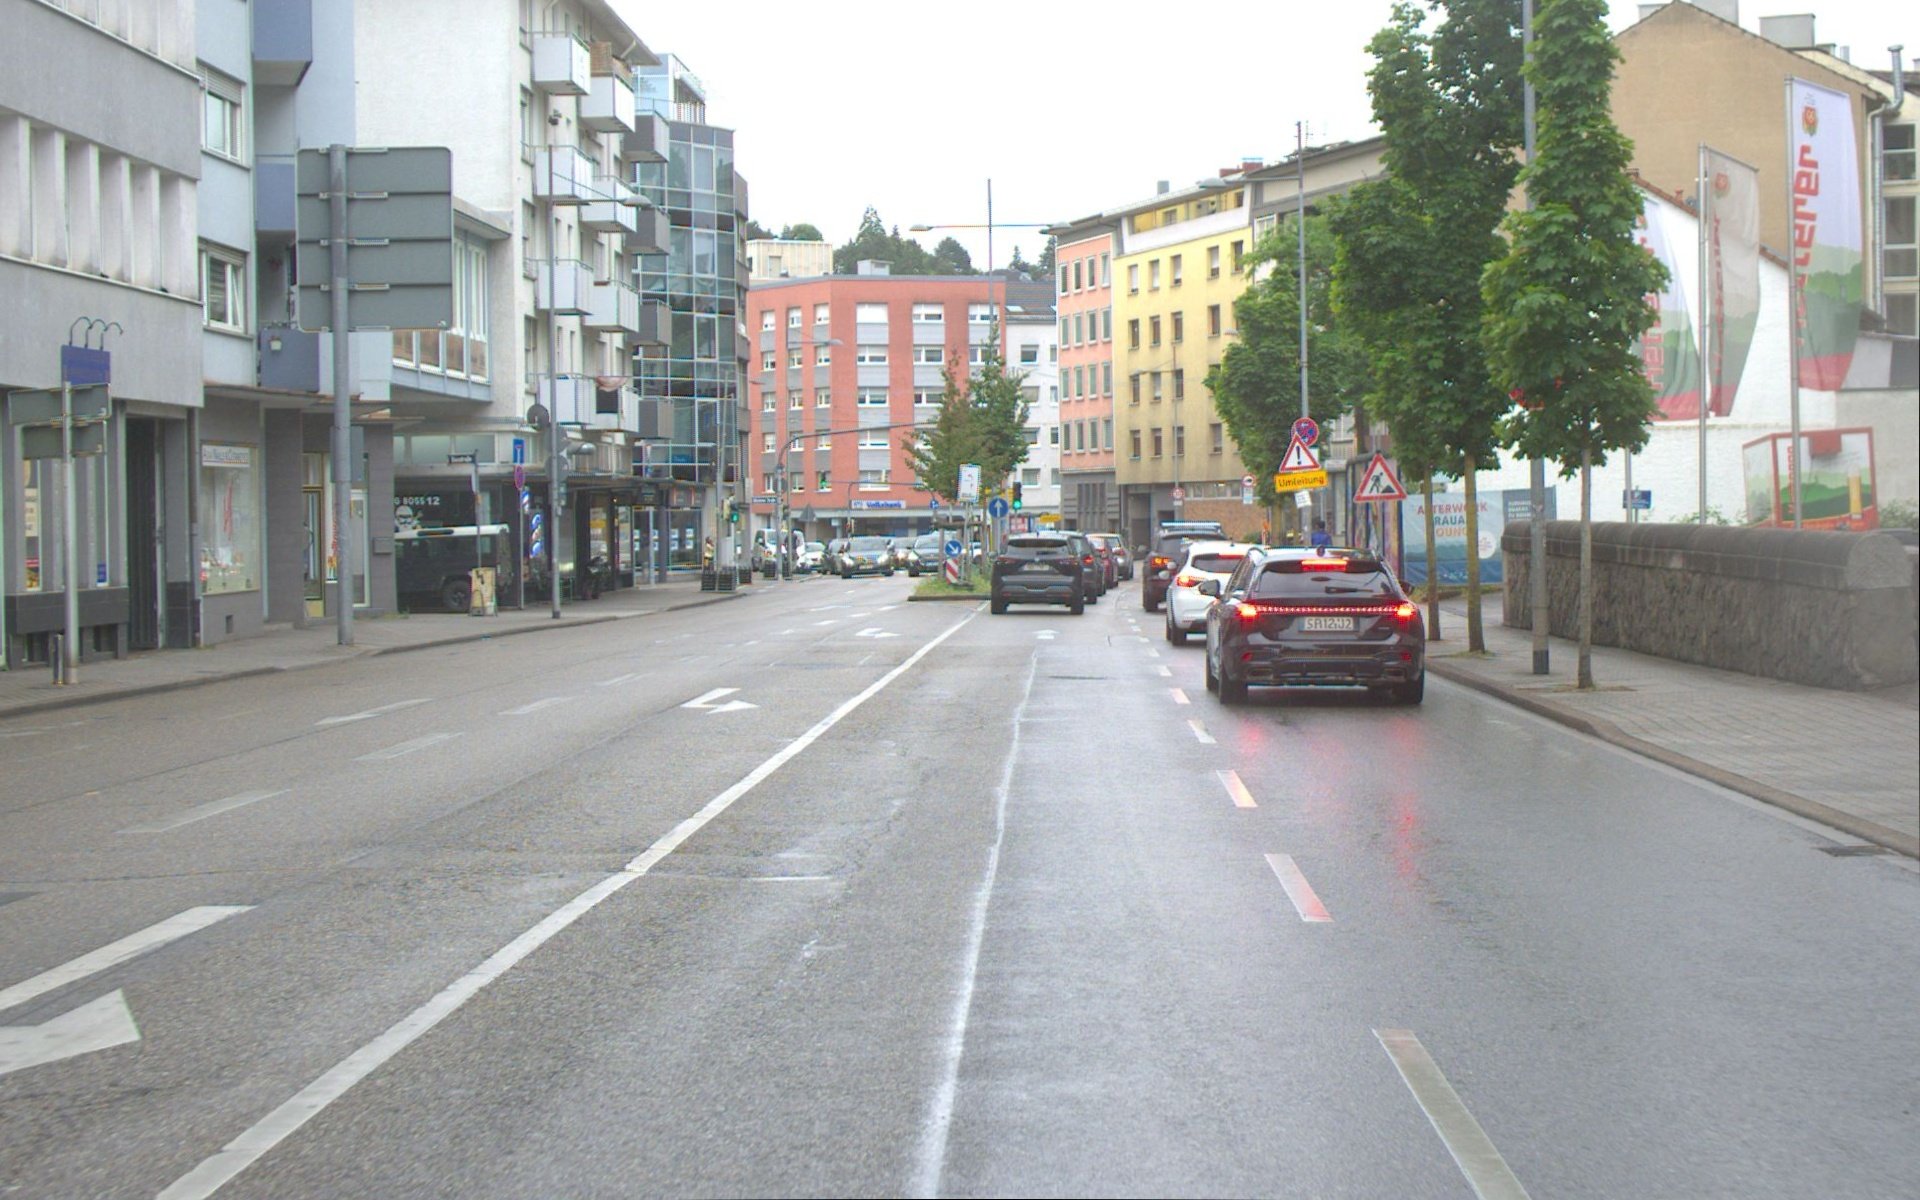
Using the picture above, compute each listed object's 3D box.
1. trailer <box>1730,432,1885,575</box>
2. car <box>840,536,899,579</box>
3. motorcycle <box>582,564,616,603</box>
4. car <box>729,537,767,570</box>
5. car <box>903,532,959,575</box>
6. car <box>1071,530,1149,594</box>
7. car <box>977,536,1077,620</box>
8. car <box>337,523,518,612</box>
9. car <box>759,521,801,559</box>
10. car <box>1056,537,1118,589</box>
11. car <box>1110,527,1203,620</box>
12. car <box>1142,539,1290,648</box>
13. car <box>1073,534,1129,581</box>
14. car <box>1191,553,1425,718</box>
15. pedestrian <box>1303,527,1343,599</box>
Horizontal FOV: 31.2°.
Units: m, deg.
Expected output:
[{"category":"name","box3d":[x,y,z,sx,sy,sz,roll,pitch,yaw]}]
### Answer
[{"category":"trailer","box3d":[17.447,-1.993,71.002,2.127,2.707,5.390,-3,1,5]},{"category":"car","box3d":[-3.321,-1.584,127.097,1.708,1.463,4.829,-3,1,3]},{"category":"motorcycle","box3d":[-9.558,-0.436,90.998,0.526,0.992,2.136,1,1,4]},{"category":"car","box3d":[-9.777,-2.153,158.408,1.455,1.425,3.371,1,2,-9]},{"category":"car","box3d":[-1.030,-1.675,122.545,1.720,1.418,4.165,-3,1,3]},{"category":"car","box3d":[3.394,-0.868,78.101,1.641,1.376,3.348,-2,1,1]},{"category":"car","box3d":[1.359,-0.466,68.364,1.823,1.595,3.718,1,1,3]},{"category":"car","box3d":[-12.556,-0.769,81.188,3.963,2.027,1.580,-1,1,3]},{"category":"car","box3d":[-7.695,-2.536,146.855,1.549,1.565,3.349,1,0,-7]},{"category":"car","box3d":[3.559,-1.048,96.935,1.641,1.376,3.348,-2,1,1]},{"category":"car","box3d":[4.097,-0.576,71.199,1.830,1.799,3.718,1,2,4]},{"category":"car","box3d":[3.610,-0.125,49.043,1.665,1.391,3.867,1,2,-2]},{"category":"car","box3d":[4.373,-1.329,106.863,1.641,1.376,3.348,-2,1,1]},{"category":"car","box3d":[3.225,0.282,32.658,1.789,1.398,4.633,1,1,1]},{"category":"pedestrian","box3d":[9.108,-0.933,86.242,0.792,1.749,0.871,-2,1,16]}]
